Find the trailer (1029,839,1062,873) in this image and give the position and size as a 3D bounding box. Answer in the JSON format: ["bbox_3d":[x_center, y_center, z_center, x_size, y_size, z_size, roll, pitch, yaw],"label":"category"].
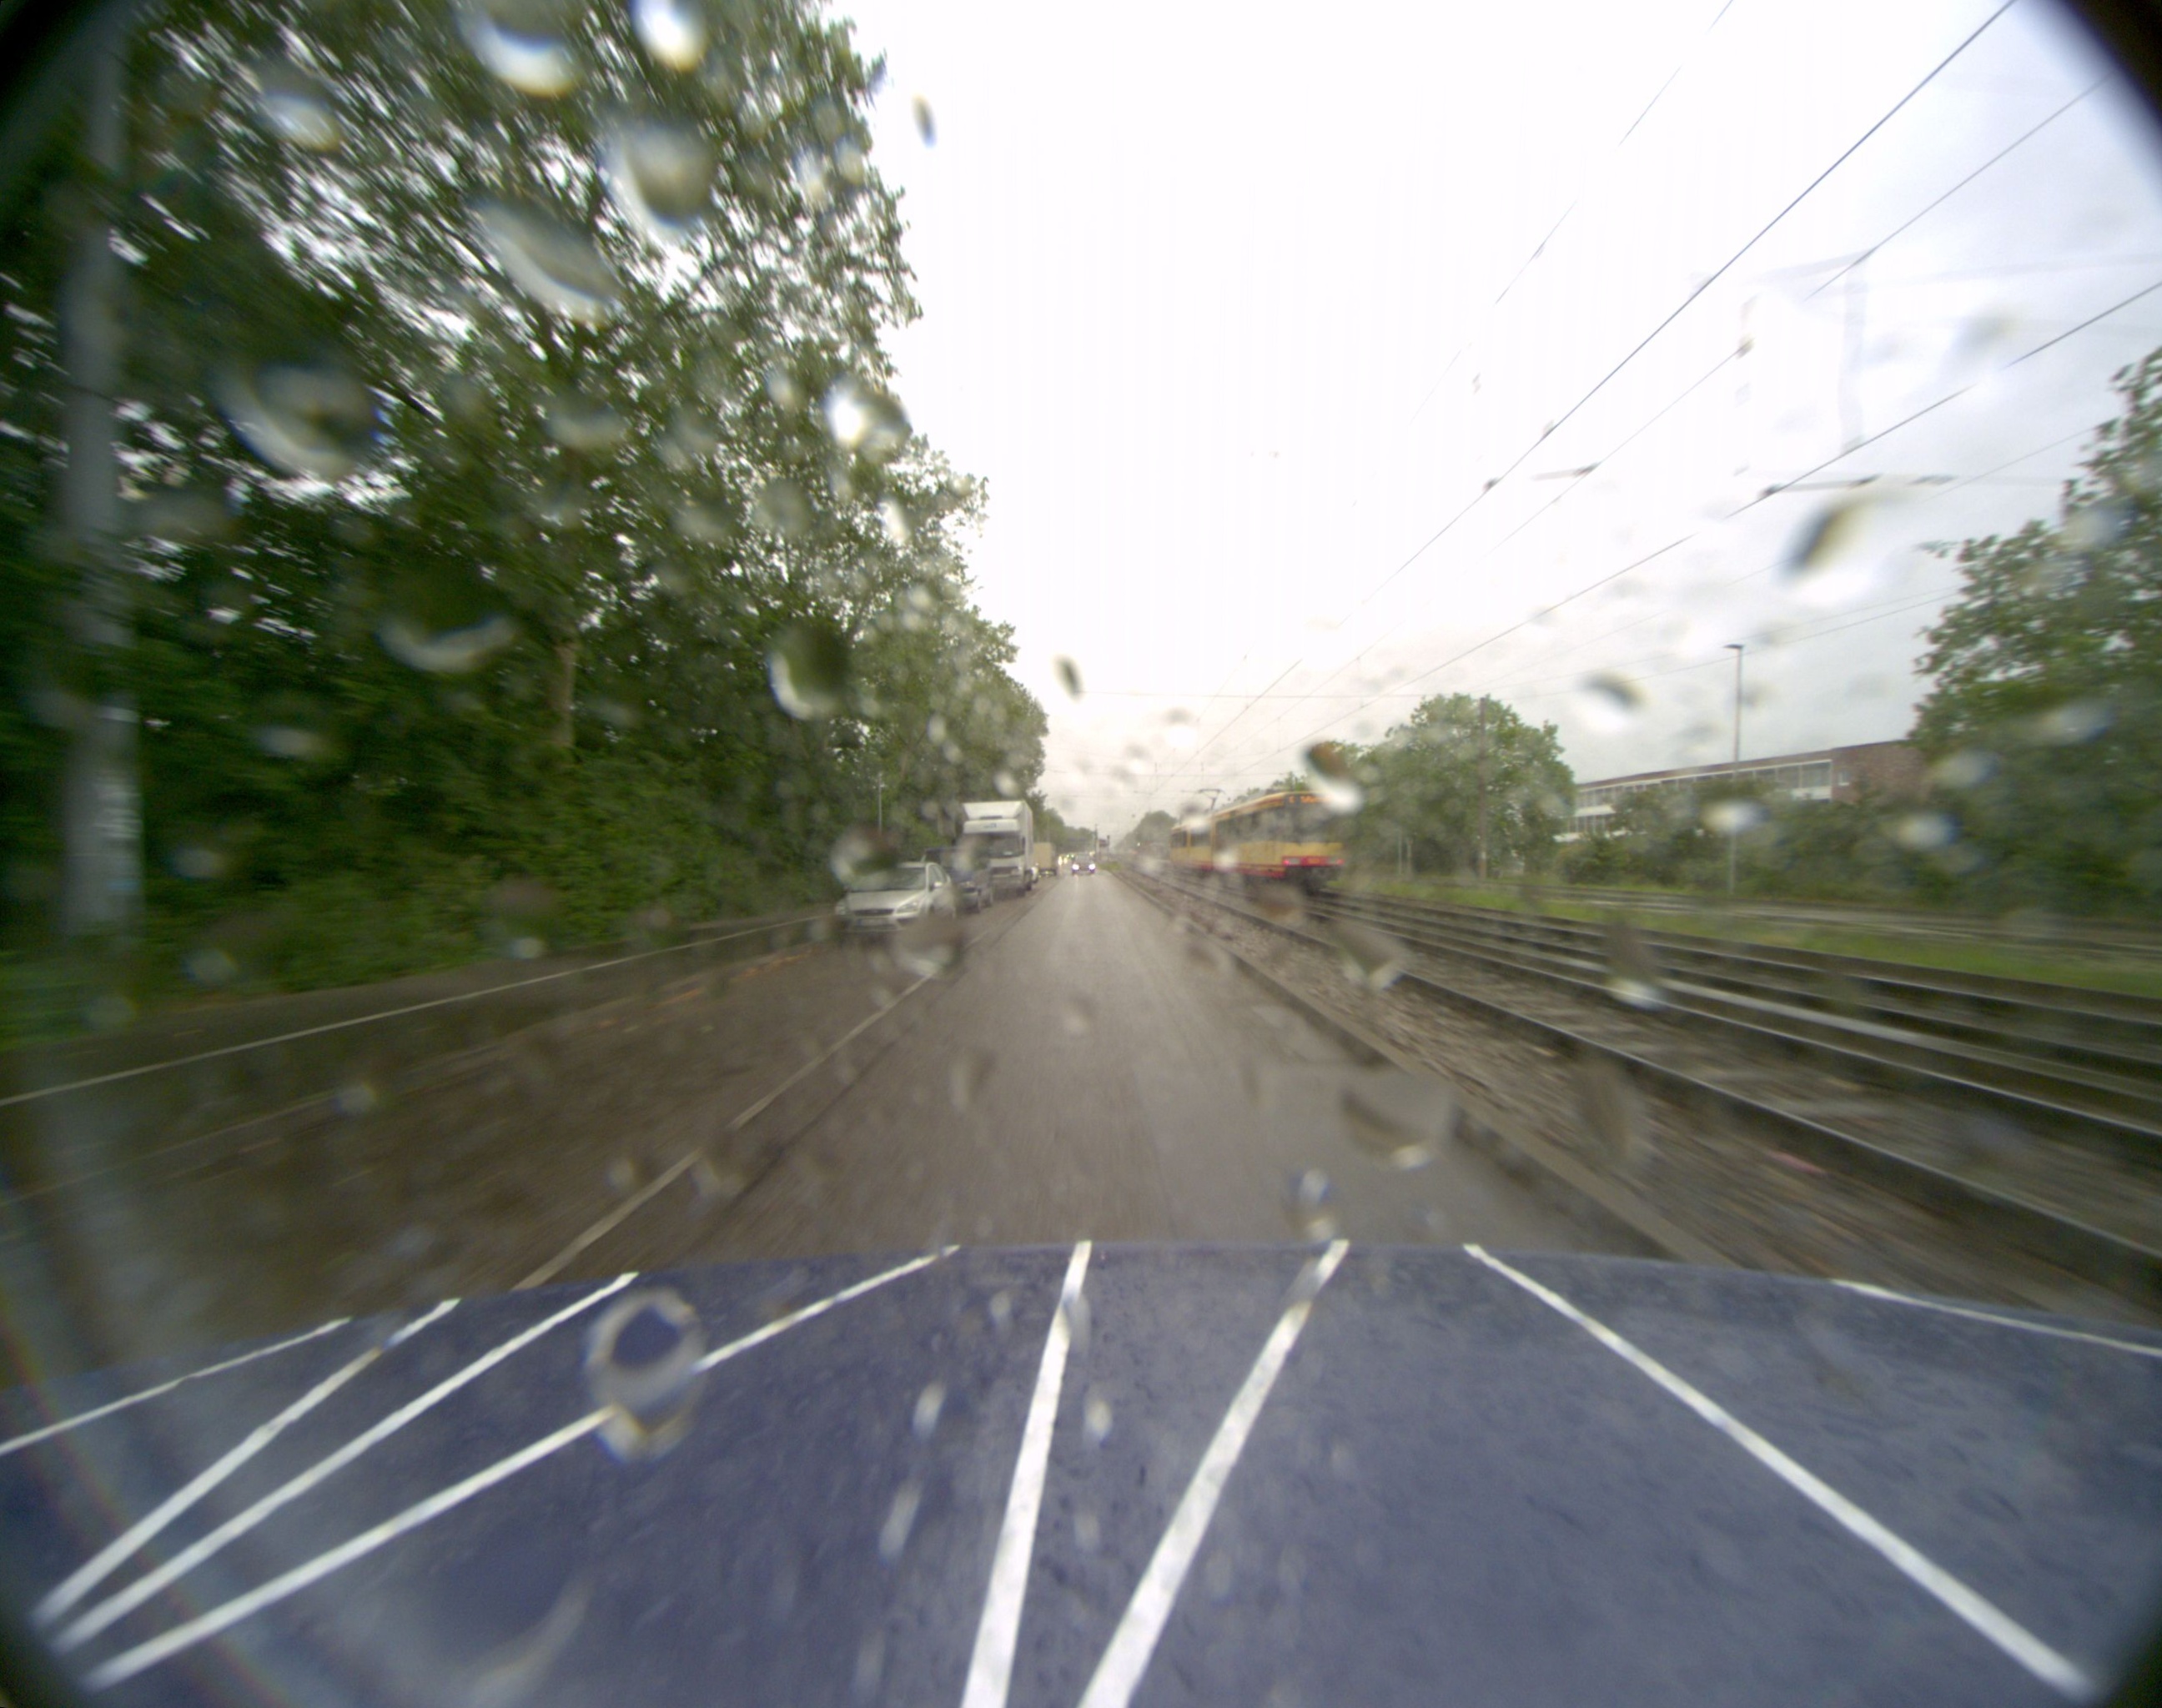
[{"bbox_3d":[-2.977,0.121,64.997,2.171,2.742,5.676,-1,1,3],"label":"trailer"}]

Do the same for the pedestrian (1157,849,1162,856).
[{"bbox_3d":[14.431,-0.313,139.324,0.833,1.309,0.858,-2,1,2],"label":"pedestrian"}]

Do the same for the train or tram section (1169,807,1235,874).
[{"bbox_3d":[8.316,-0.900,54.043,2.813,4.125,13.018,-1,0,1],"label":"train or tram section"}]

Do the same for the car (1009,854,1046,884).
[{"bbox_3d":[-3.197,0.871,45.946,1.717,1.520,4.000,-7,0,1],"label":"car"}]

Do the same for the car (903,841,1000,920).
[{"bbox_3d":[-3.667,0.696,22.515,1.881,2.002,4.980,-2,0,1],"label":"car"}]

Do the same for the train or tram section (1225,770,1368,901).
[{"bbox_3d":[7.836,-0.676,29.357,2.817,4.126,10.267,-1,1,1],"label":"train or tram section"}]

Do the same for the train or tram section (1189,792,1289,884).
[{"bbox_3d":[8.090,-0.798,41.022,2.813,4.126,13.017,-1,1,1],"label":"train or tram section"}]

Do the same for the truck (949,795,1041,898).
[{"bbox_3d":[-3.407,-0.352,32.660,2.783,3.683,9.849,-1,1,0],"label":"truck"}]

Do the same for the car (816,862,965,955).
[{"bbox_3d":[-3.668,0.982,15.464,1.817,1.451,4.345,-2,1,1],"label":"car"}]

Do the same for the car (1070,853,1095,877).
[{"bbox_3d":[0.177,0.977,67.329,1.998,2.002,4.000,-1,1,2],"label":"car"}]
